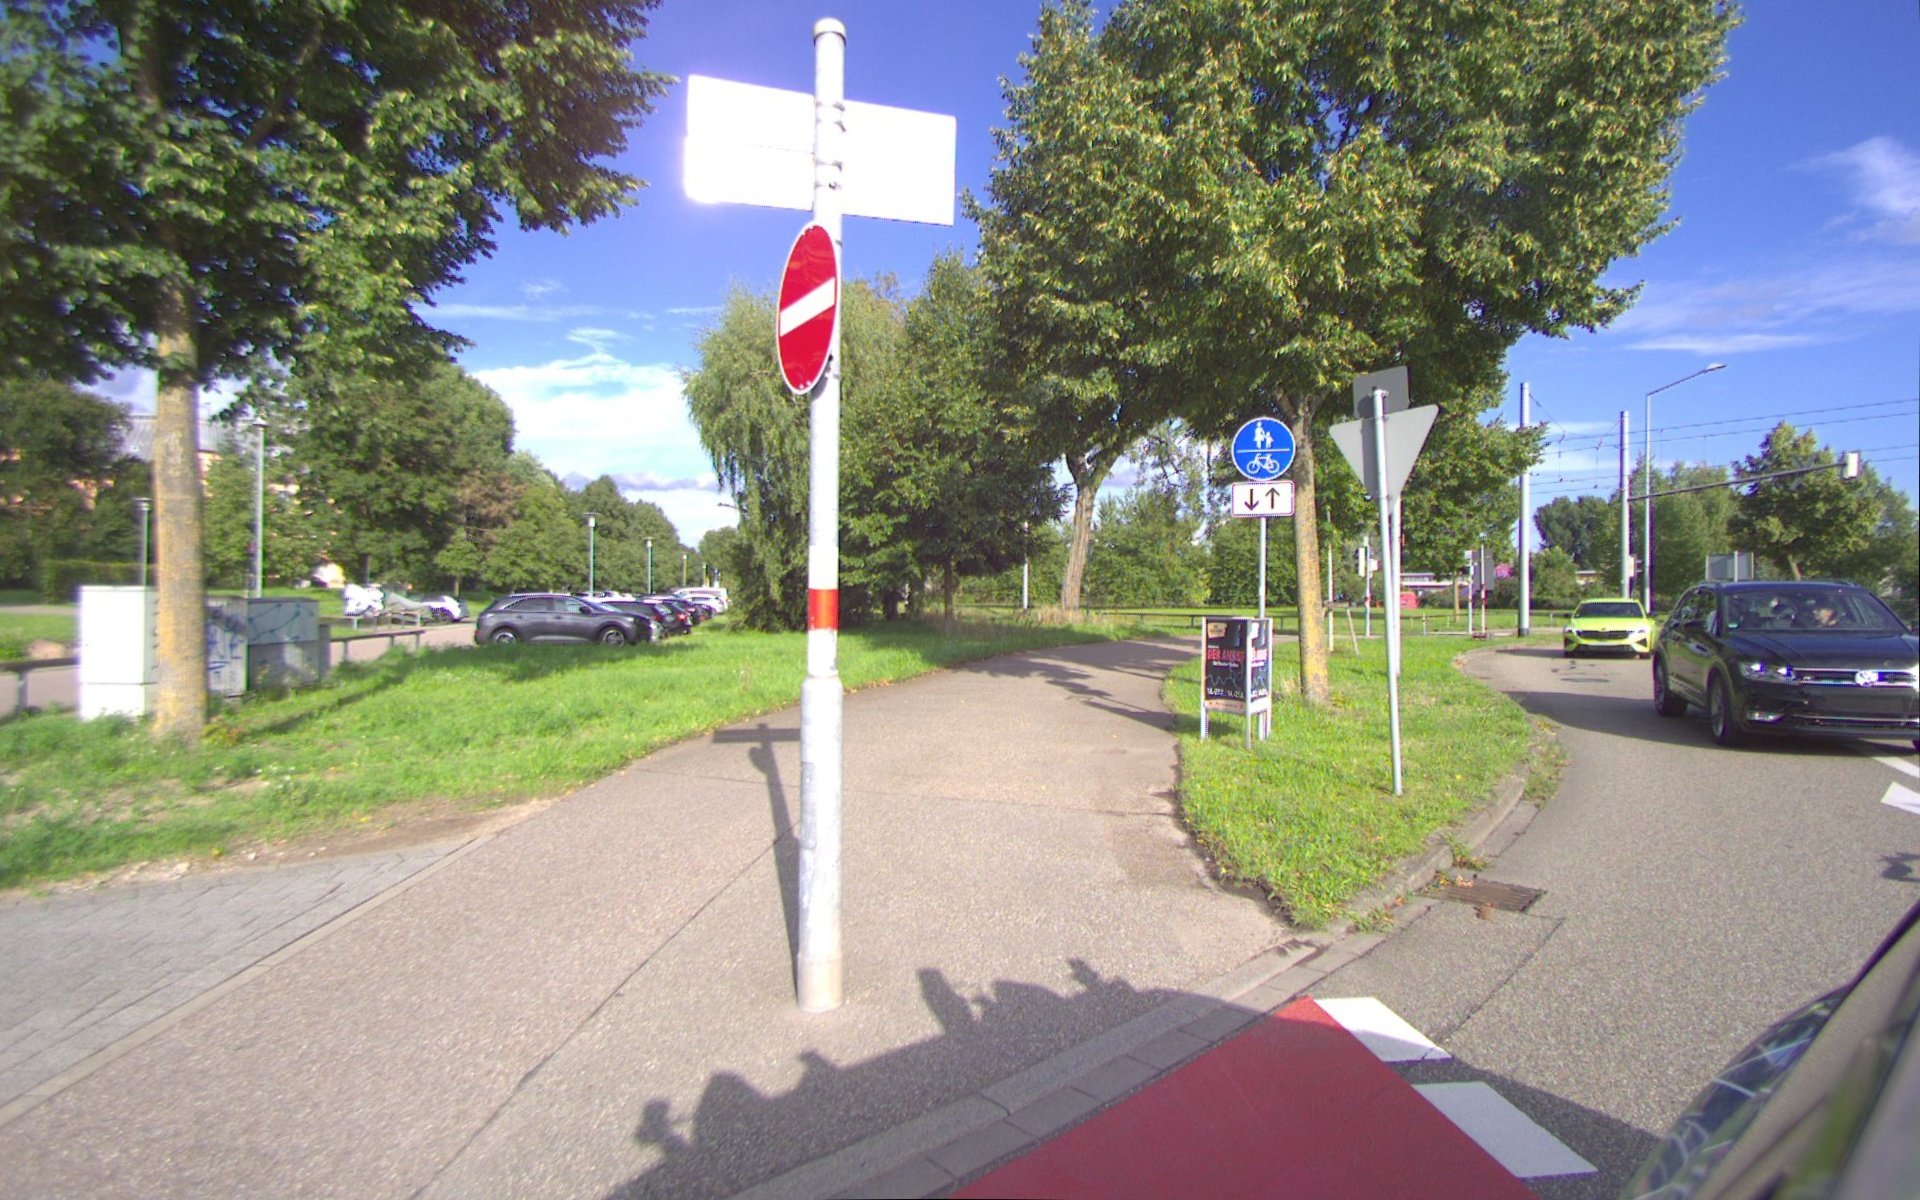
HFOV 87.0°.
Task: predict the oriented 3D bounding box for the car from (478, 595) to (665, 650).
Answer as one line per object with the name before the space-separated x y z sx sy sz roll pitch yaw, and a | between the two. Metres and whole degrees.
car | -10.348 0.572 27.272 4.422 1.399 1.864 0 0 -9

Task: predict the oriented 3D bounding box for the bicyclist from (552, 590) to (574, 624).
bicyclist | -19.039 0.337 48.552 0.756 1.594 0.962 0 1 -9

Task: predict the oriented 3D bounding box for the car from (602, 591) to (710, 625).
car | -14.093 0.346 47.144 4.650 1.534 1.864 0 0 -9

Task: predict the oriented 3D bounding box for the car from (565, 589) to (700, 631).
car | -12.254 0.350 38.137 4.636 1.534 1.864 0 0 -9

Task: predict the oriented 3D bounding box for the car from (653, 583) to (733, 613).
car | -18.203 -0.149 69.312 5.010 2.032 2.320 0 0 -6

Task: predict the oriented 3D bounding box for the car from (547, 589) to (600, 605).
car | -32.724 -0.251 85.817 3.917 1.352 1.784 0 0 -10

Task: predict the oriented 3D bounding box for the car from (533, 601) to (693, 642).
car | -11.128 0.665 32.737 4.636 1.223 1.864 0 0 -9

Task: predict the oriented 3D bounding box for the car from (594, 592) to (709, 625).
car | -13.580 0.362 44.771 4.636 1.376 1.864 0 0 -9

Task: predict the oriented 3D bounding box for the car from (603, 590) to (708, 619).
car | -14.961 0.217 49.918 4.734 1.375 1.864 0 0 -9

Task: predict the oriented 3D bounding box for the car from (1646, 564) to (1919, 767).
car | 8.991 0.528 10.883 1.853 1.716 4.973 0 1 25

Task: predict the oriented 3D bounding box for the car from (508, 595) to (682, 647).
car | -10.830 0.598 30.343 4.636 1.458 1.864 0 0 -9

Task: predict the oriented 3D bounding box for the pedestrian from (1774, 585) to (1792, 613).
pedestrian | 51.915 -0.086 63.840 0.654 1.754 0.598 0 0 -12

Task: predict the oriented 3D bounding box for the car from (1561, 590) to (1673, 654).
car | 16.376 0.509 25.124 1.887 1.439 4.543 -1 -1 39

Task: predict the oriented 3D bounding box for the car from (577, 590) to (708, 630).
car | -12.533 0.380 40.240 4.763 1.534 1.864 0 0 -9

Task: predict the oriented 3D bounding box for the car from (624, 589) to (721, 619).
car | -15.459 0.200 54.610 4.843 1.534 1.864 0 0 -9

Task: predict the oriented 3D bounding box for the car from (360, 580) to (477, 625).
car | -26.542 0.144 49.693 4.713 2.040 1.879 -1 -2 -7

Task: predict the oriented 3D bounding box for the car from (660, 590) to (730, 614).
car | -17.451 0.106 66.605 4.375 1.534 1.865 0 0 -17

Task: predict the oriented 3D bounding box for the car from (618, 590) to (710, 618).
car | -15.272 0.199 52.467 4.377 1.380 1.864 0 0 -9

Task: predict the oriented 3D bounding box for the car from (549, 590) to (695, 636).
car | -11.767 0.421 35.545 4.636 1.534 1.864 0 0 -9
